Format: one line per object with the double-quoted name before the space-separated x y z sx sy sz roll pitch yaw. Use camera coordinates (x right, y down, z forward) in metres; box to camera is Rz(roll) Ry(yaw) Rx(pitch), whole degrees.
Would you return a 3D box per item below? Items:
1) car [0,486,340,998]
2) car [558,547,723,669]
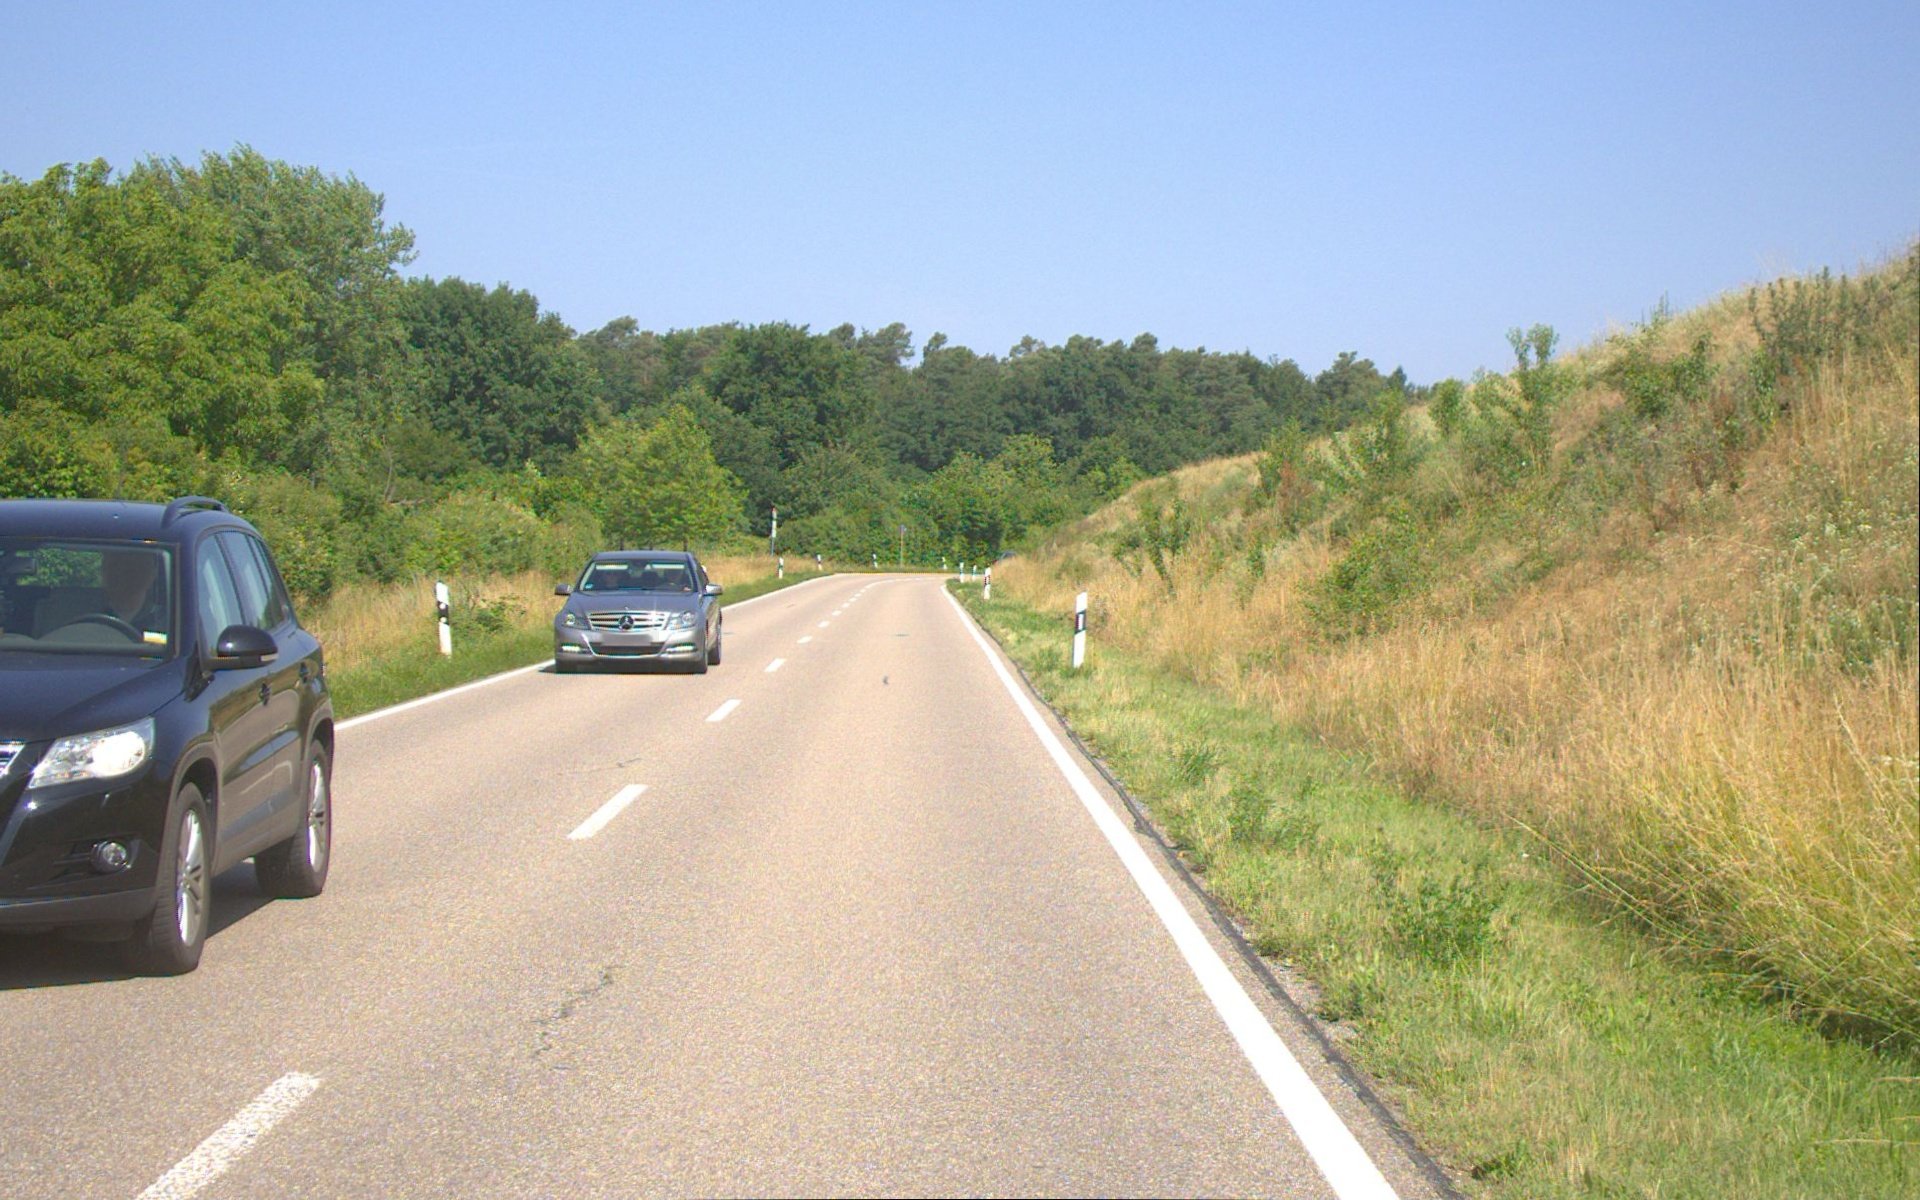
"car" -3.527 0.411 13.008 1.716 1.641 3.915 1 1 -1
"car" -3.817 0.073 41.601 1.722 1.349 4.000 2 0 -2
